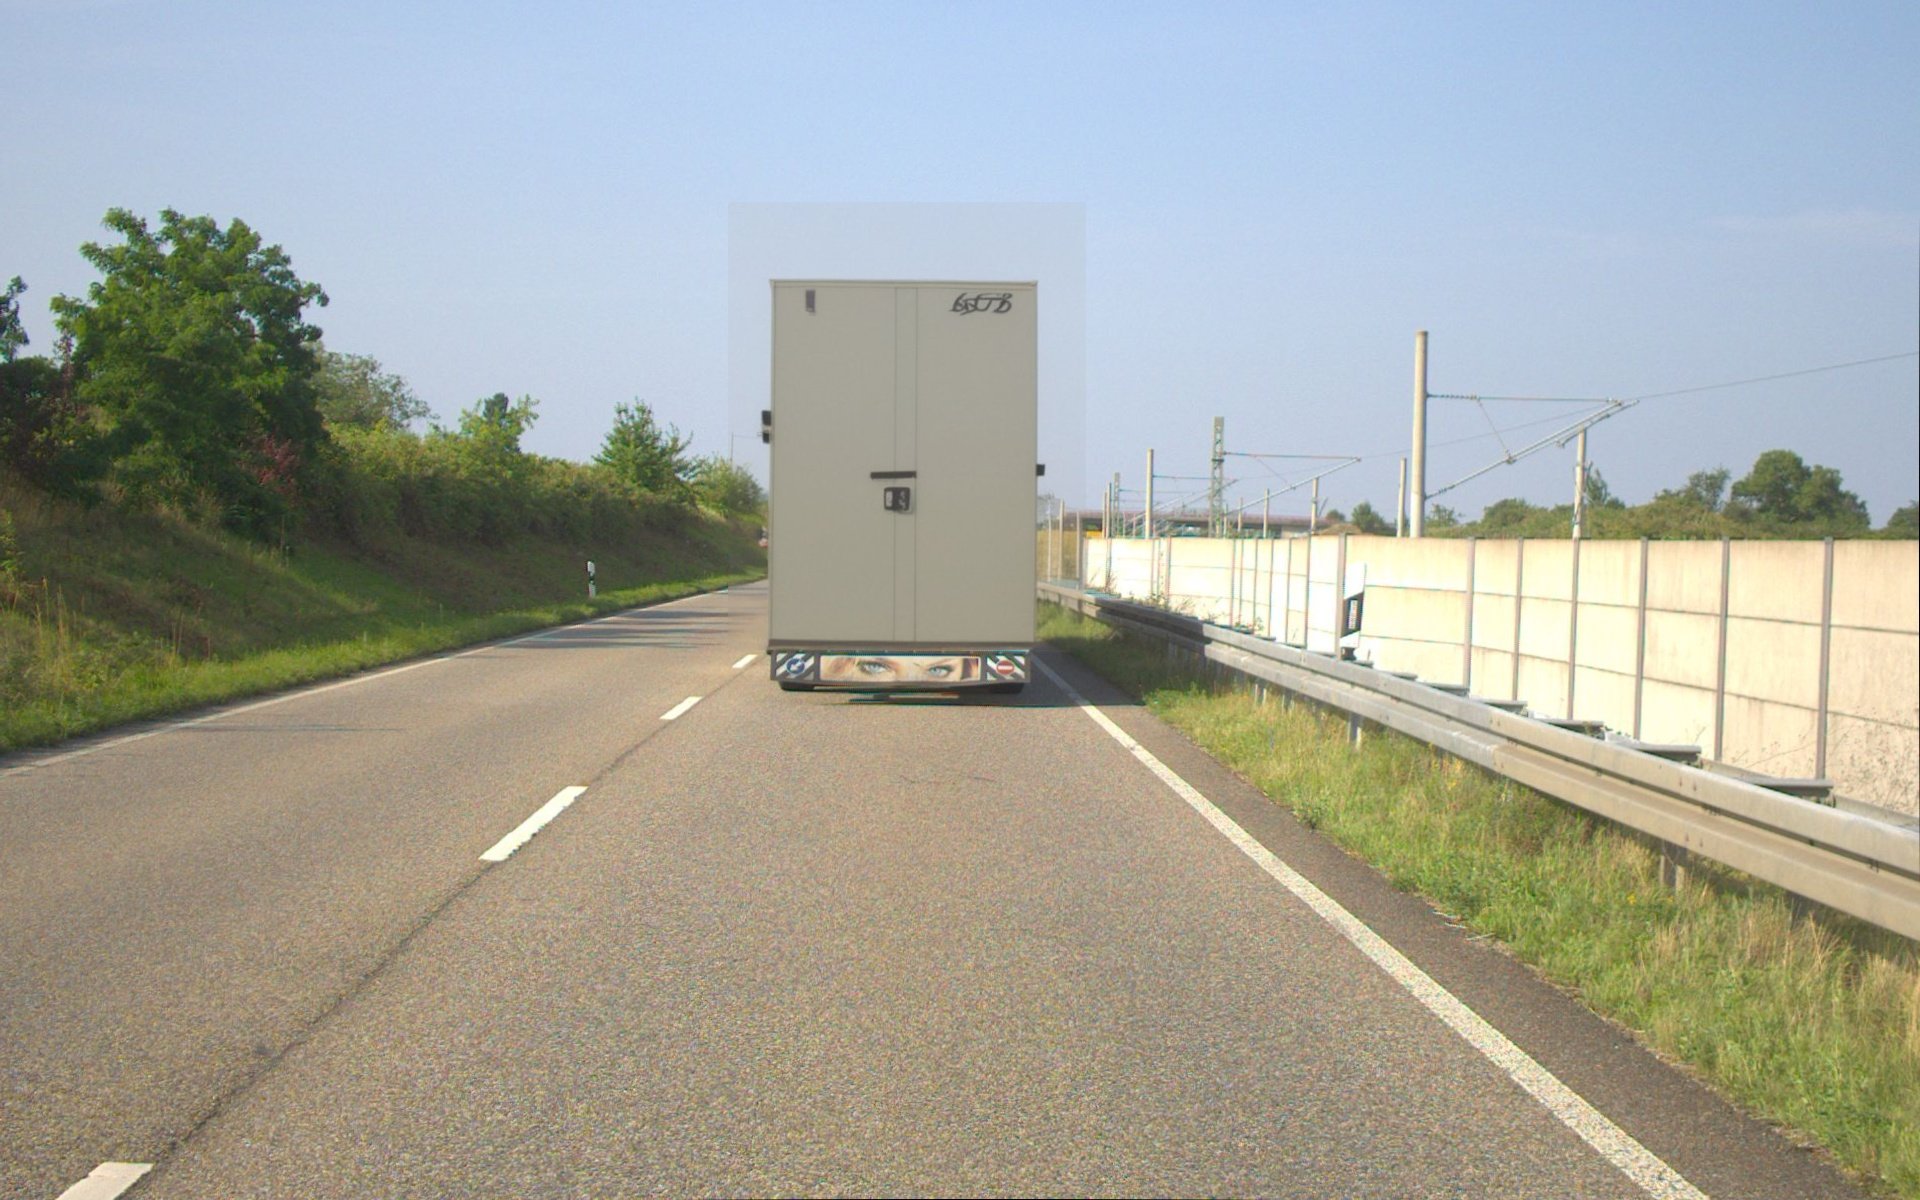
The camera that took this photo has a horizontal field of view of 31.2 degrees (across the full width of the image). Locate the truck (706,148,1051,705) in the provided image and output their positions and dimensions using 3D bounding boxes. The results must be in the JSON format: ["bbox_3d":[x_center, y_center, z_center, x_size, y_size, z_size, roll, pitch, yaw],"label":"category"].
[{"bbox_3d":[-0.864,-1.698,36.217,3.033,4.903,11.686,0,2,-1],"label":"truck"}]
